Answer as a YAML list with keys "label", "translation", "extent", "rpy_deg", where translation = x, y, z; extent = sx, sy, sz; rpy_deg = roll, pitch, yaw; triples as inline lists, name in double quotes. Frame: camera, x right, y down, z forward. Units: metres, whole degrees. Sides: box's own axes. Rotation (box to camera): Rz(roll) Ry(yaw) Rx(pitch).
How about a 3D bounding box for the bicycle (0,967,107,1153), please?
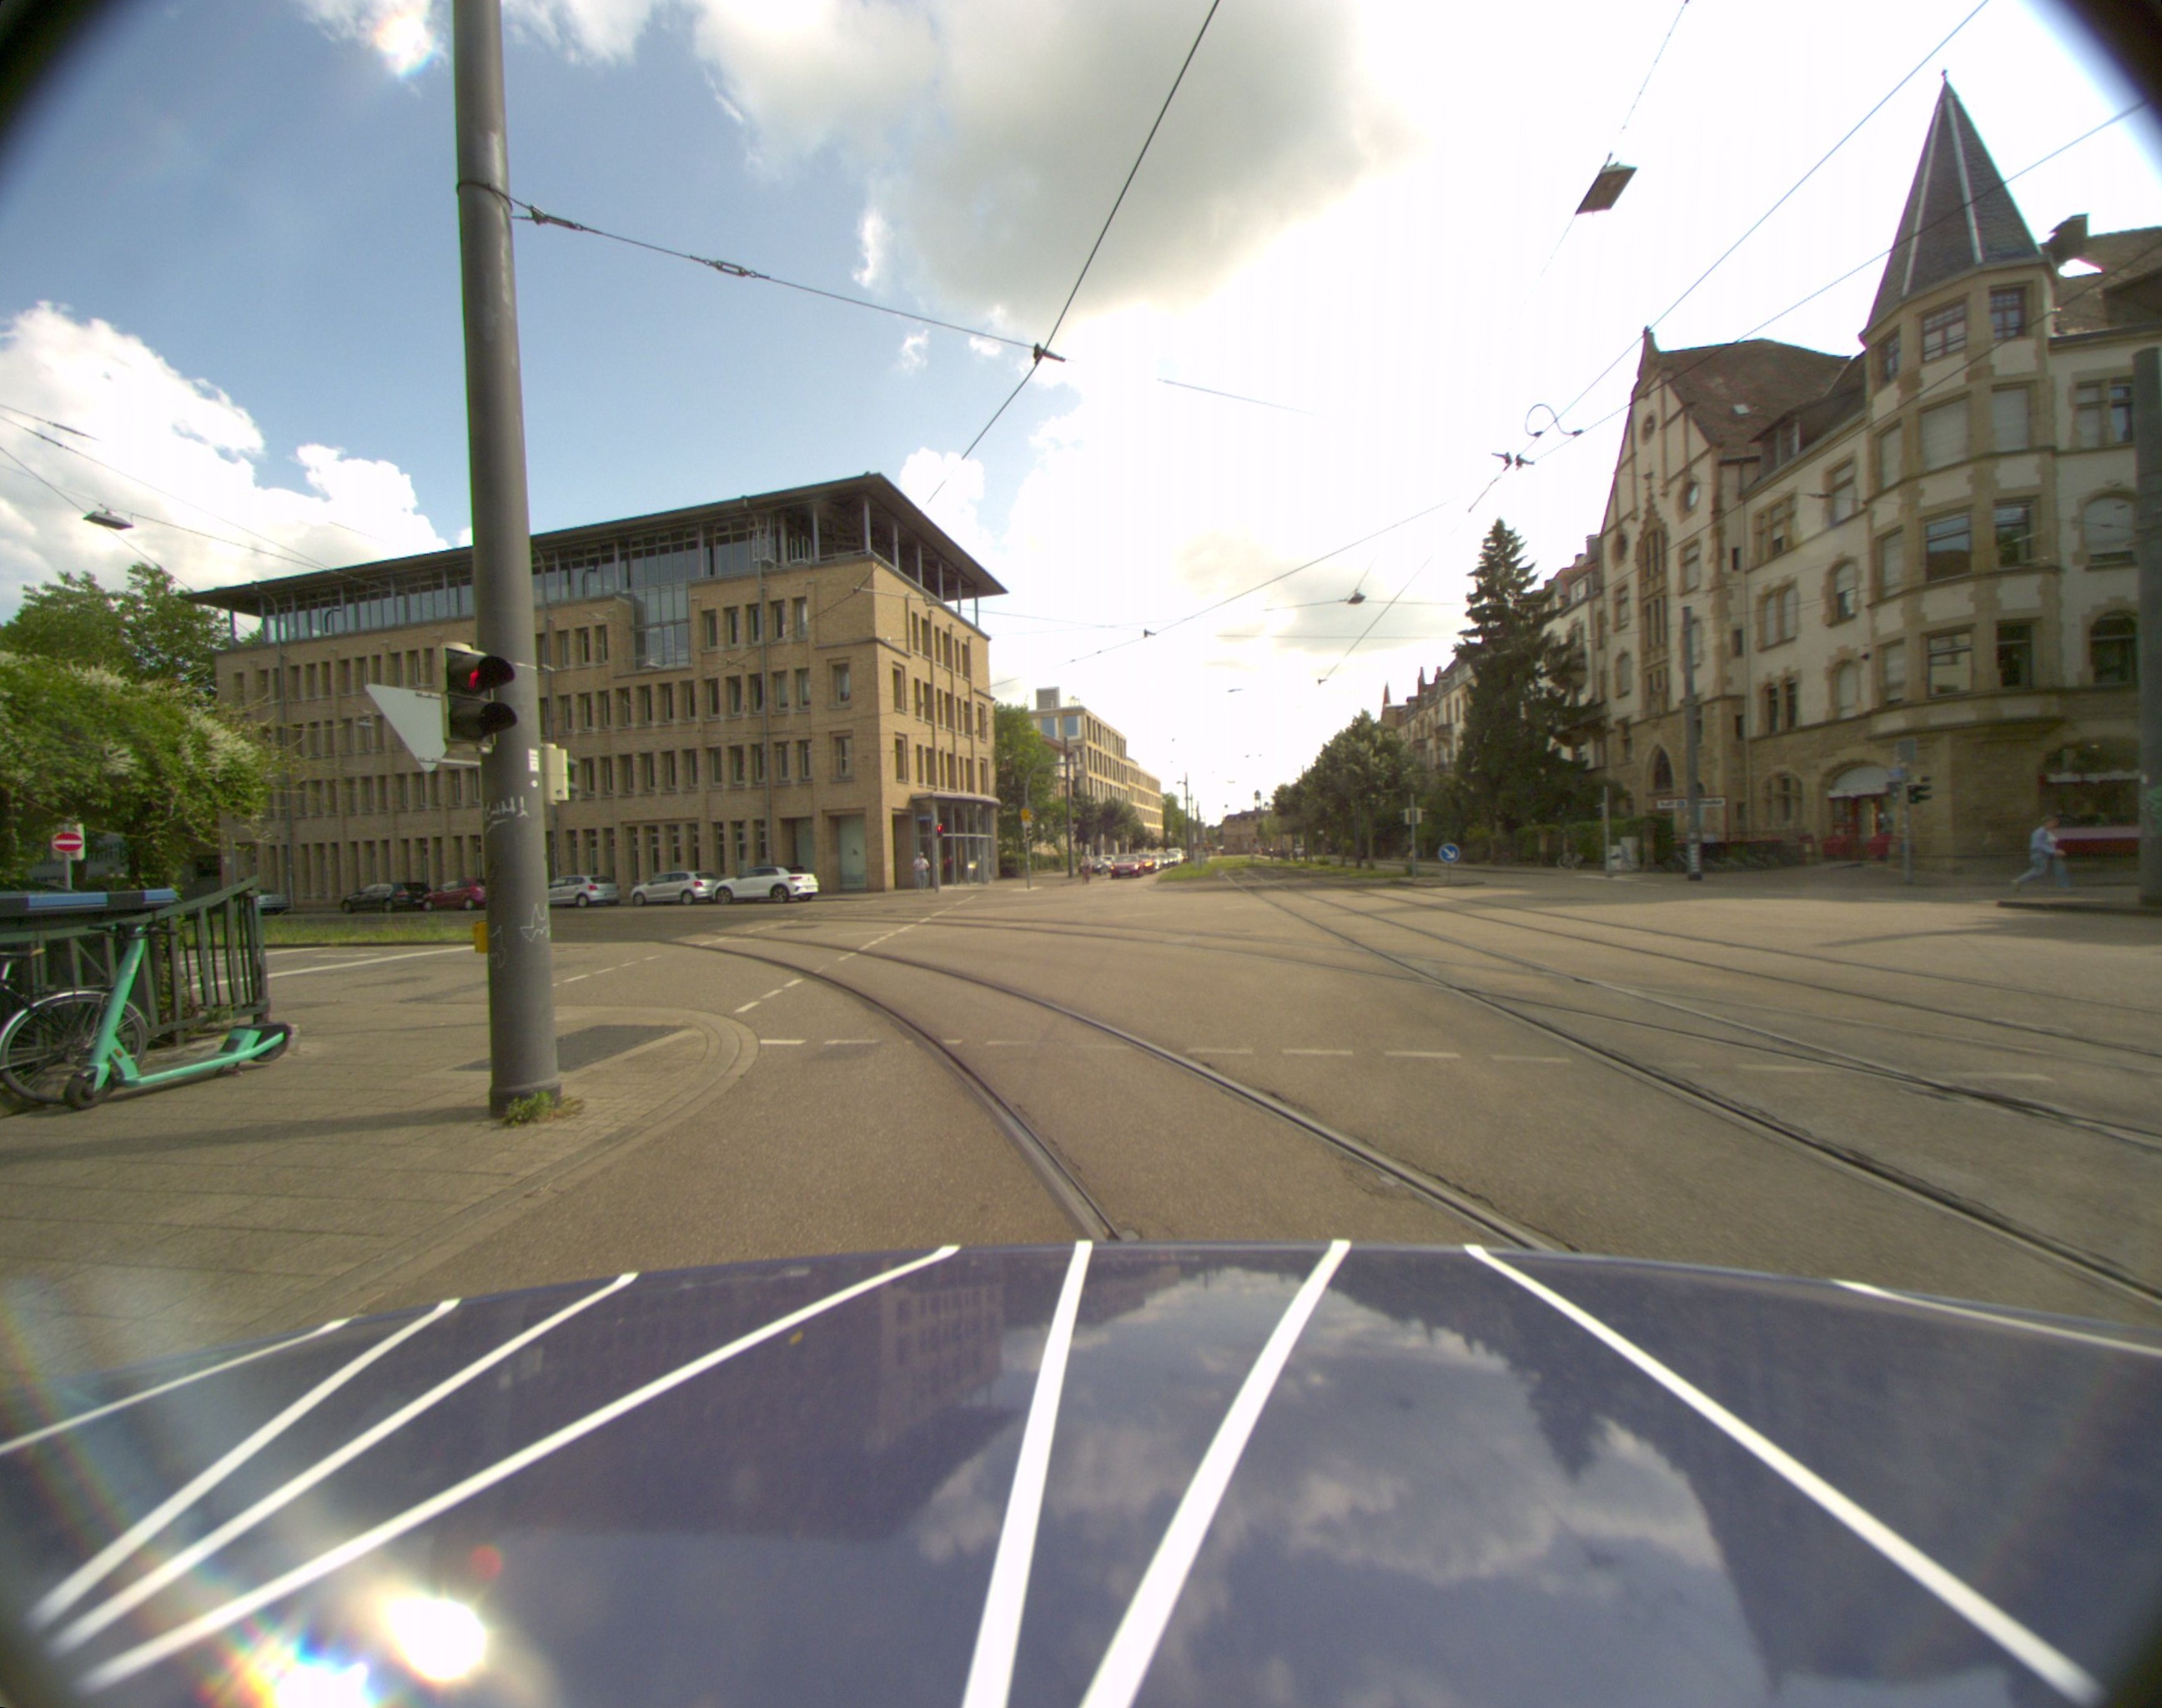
- label: "bicycle"
  translation: [-6.539, 1.251, 4.190]
  extent: [0.350, 1.016, 1.481]
  rpy_deg: [1, 1, 4]

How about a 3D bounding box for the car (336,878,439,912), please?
- label: "car"
  translation: [-32.800, 1.930, 35.963]
  extent: [3.992, 1.414, 1.678]
  rpy_deg: [-2, 1, 15]

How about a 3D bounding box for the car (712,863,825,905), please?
- label: "car"
  translation: [-12.640, 1.200, 30.782]
  extent: [3.992, 1.538, 1.679]
  rpy_deg: [-2, 0, 15]

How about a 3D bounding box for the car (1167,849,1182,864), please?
- label: "car"
  translation: [10.839, 0.266, 88.040]
  extent: [1.579, 1.549, 4.002]
  rpy_deg: [-2, 0, 9]

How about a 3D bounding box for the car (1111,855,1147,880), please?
- label: "car"
  translation: [2.949, 0.781, 46.315]
  extent: [1.740, 1.313, 4.002]
  rpy_deg: [-4, 0, 9]

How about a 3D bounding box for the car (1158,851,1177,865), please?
- label: "car"
  translation: [8.589, 0.385, 75.351]
  extent: [1.619, 1.265, 4.002]
  rpy_deg: [-3, 0, 9]

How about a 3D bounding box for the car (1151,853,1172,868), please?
- label: "car"
  translation: [7.313, 0.570, 68.504]
  extent: [1.619, 1.265, 4.002]
  rpy_deg: [-3, 0, 9]

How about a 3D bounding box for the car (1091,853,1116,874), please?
- label: "car"
  translation: [1.962, 0.755, 64.450]
  extent: [1.835, 1.674, 4.001]
  rpy_deg: [-2, 0, 5]

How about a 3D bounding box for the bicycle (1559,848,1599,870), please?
- label: "bicycle"
  translation: [23.109, 0.226, 35.320]
  extent: [0.624, 0.966, 2.337]
  rpy_deg: [-2, 0, 8]

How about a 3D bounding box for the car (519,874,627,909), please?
- label: "car"
  translation: [-22.223, 1.619, 33.259]
  extent: [3.992, 1.413, 1.679]
  rpy_deg: [-2, -1, 15]

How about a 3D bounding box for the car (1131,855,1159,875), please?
- label: "car"
  translation: [4.535, 0.743, 53.652]
  extent: [1.619, 1.265, 4.002]
  rpy_deg: [-3, 0, 9]

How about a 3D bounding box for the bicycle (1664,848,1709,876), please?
- label: "bicycle"
  translation: [22.984, 0.289, 28.860]
  extent: [0.591, 0.967, 1.630]
  rpy_deg: [-2, 2, 8]

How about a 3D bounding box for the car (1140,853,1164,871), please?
- label: "car"
  translation: [5.784, 0.650, 61.707]
  extent: [1.619, 1.265, 4.002]
  rpy_deg: [-3, 0, 9]

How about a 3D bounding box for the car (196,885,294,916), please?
- label: "car"
  translation: [-42.255, 2.357, 38.419]
  extent: [3.992, 1.414, 1.679]
  rpy_deg: [-2, -1, 15]

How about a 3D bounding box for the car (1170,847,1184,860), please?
- label: "car"
  translation: [12.193, -0.052, 96.095]
  extent: [1.645, 1.610, 3.715]
  rpy_deg: [-2, 0, 9]

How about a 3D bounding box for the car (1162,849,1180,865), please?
- label: "car"
  translation: [9.679, 0.318, 81.129]
  extent: [1.738, 1.571, 4.002]
  rpy_deg: [-1, 0, 9]

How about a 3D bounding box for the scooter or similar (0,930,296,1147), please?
- label: "scooter or similar"
  translation: [-6.243, 1.167, 5.164]
  extent: [0.521, 1.172, 1.188]
  rpy_deg: [1, 1, 6]

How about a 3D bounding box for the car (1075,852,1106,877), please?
- label: "car"
  translation: [0.730, 0.716, 56.193]
  extent: [1.998, 1.730, 4.001]
  rpy_deg: [-2, 0, 4]

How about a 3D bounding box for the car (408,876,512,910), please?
- label: "car"
  translation: [-28.662, 1.803, 35.103]
  extent: [3.992, 1.414, 1.679]
  rpy_deg: [-2, -1, 15]

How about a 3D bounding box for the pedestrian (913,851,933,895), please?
- label: "pedestrian"
  translation: [-6.766, 0.799, 32.608]
  extent: [0.736, 1.832, 0.806]
  rpy_deg: [-3, 1, -10]

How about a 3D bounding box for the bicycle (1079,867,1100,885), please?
- label: "bicycle"
  translation: [0.460, 1.153, 39.895]
  extent: [0.771, 0.885, 1.893]
  rpy_deg: [-2, 0, 11]

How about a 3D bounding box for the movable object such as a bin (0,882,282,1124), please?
- label: "movable object such as a bin"
  translation: [-7.564, 1.008, 5.513]
  extent: [1.305, 1.483, 2.001]
  rpy_deg: [-2, 0, 6]

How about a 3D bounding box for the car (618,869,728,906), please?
- label: "car"
  translation: [-17.121, 1.404, 31.912]
  extent: [3.992, 1.414, 1.679]
  rpy_deg: [-2, -1, 15]

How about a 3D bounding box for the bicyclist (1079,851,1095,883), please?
- label: "bicyclist"
  translation: [0.309, 0.673, 39.692]
  extent: [0.665, 1.679, 0.858]
  rpy_deg: [-1, 1, 11]

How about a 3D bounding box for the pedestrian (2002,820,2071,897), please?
- label: "pedestrian"
  translation: [22.371, 0.099, 17.796]
  extent: [0.770, 1.730, 0.933]
  rpy_deg: [-2, 1, -34]
